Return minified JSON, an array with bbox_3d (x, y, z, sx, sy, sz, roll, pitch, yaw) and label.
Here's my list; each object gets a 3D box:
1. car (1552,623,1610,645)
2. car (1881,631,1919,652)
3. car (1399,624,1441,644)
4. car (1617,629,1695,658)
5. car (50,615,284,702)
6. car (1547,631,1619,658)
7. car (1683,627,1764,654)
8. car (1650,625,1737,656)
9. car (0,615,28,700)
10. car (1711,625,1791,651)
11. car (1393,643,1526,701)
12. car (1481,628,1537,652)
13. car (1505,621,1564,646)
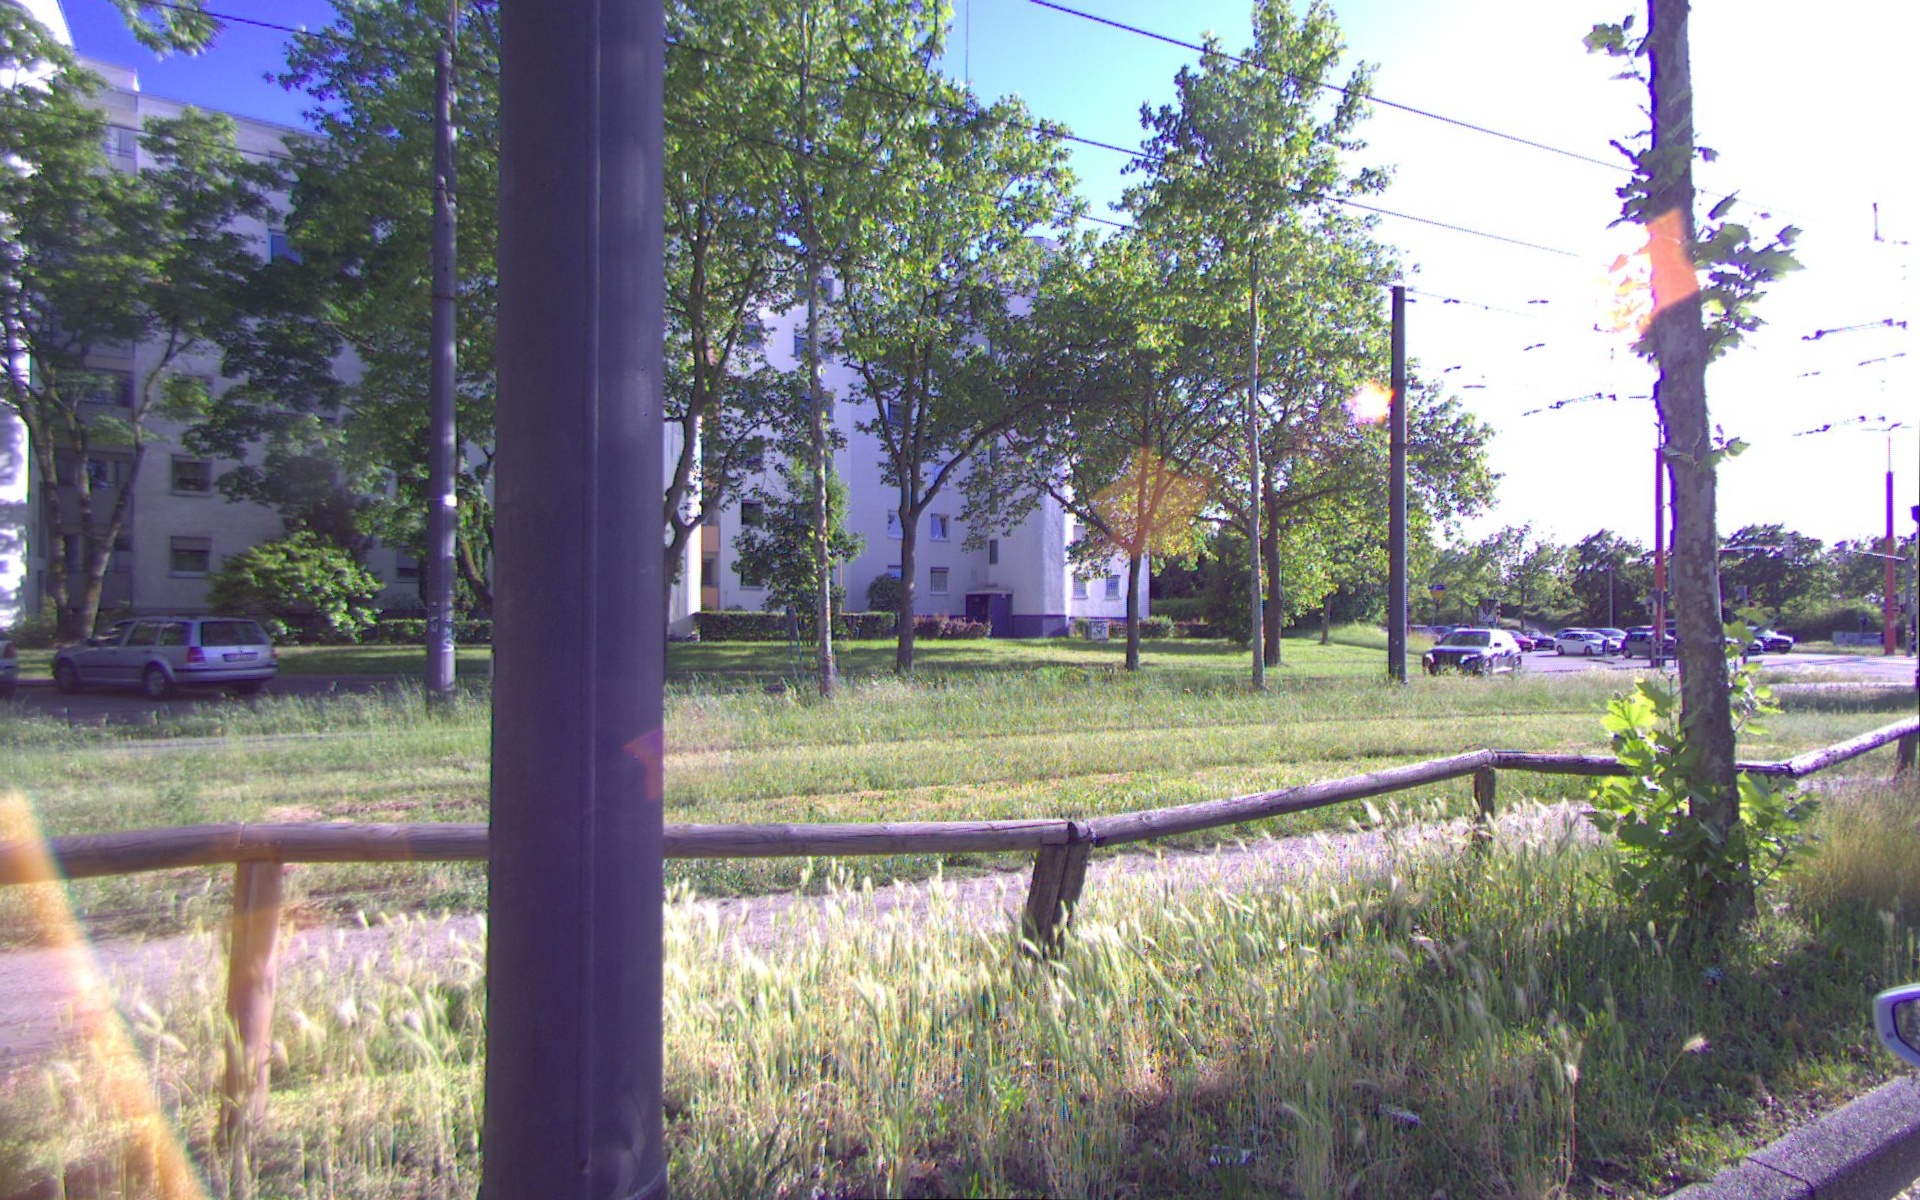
[{"bbox_3d":[45.298,2.456,73.326,1.513,1.434,4.154,1,-1,-3],"label":"car"},{"bbox_3d":[69.248,3.016,72.352,1.628,1.421,4.121,1,-1,-14],"label":"car"},{"bbox_3d":[38.638,2.814,84.389,1.624,1.540,4.200,1,-1,1],"label":"car"},{"bbox_3d":[38.963,2.405,56.358,1.624,1.460,3.841,1,-1,-2],"label":"car"},{"bbox_3d":[-14.539,1.012,18.425,3.830,1.421,1.581,1,0,20],"label":"car"},{"bbox_3d":[38.915,2.756,62.865,1.624,1.540,4.638,1,-1,1],"label":"car"},{"bbox_3d":[45.570,2.391,60.059,1.513,1.434,4.154,1,-1,-3],"label":"car"},{"bbox_3d":[42.322,2.307,58.101,1.624,1.669,4.644,1,-1,1],"label":"car"},{"bbox_3d":[-17.989,0.949,17.151,3.567,1.421,1.581,1,0,20],"label":"car"},{"bbox_3d":[48.648,2.321,61.892,1.513,1.434,4.154,1,-1,-3],"label":"car"},{"bbox_3d":[15.641,2.208,31.389,4.243,1.640,1.644,1,-1,-30],"label":"car"},{"bbox_3d":[38.443,2.775,70.447,1.624,1.540,4.200,1,-1,1],"label":"car"},{"bbox_3d":[42.264,2.430,74.066,1.721,1.669,4.644,1,-1,1],"label":"car"}]
